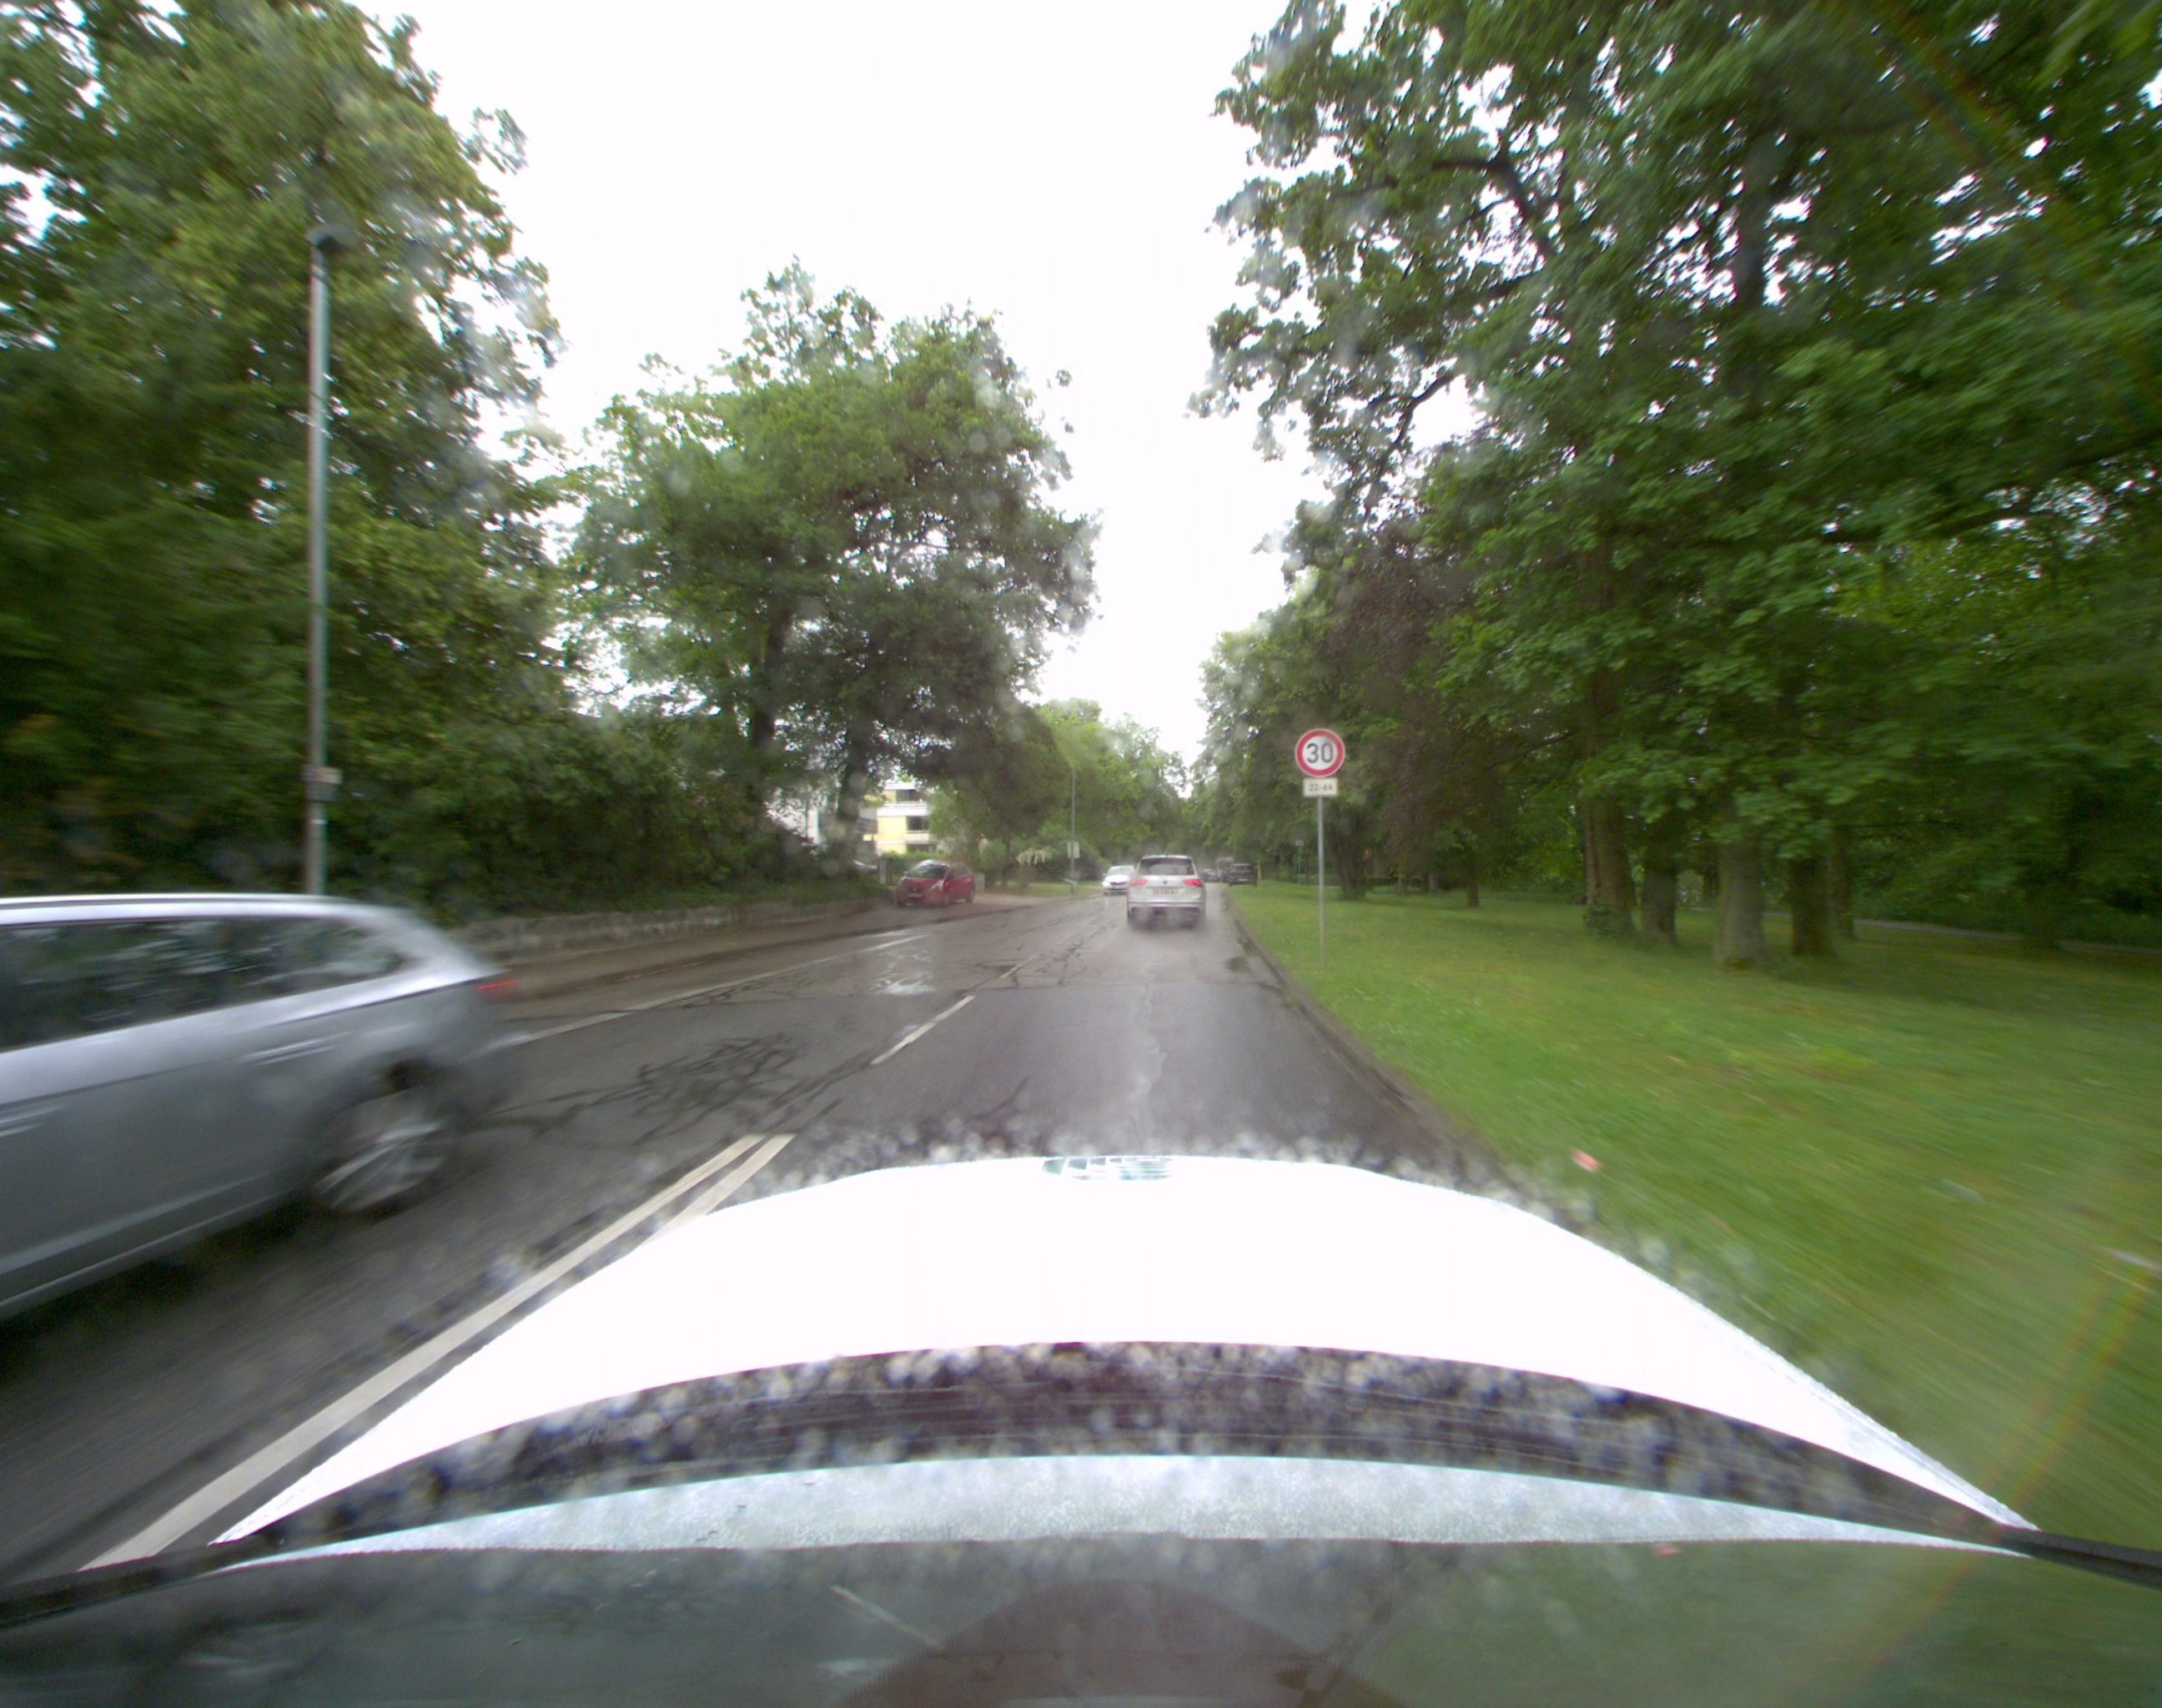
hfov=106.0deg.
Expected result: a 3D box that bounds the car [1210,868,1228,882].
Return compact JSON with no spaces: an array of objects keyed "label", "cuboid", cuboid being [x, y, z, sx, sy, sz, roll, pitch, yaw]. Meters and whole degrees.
[{"label":"car","cuboid":[16.181,2.519,95.670,1.796,1.539,4.274,-2,-2,6]}]

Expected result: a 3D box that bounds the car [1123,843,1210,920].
[{"label":"car","cuboid":[2.155,0.635,20.177,1.895,1.685,4.209,-1,-1,7]}]

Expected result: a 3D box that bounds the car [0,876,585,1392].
[{"label":"car","cuboid":[-3.986,0.867,2.592,1.781,1.423,4.366,-2,-1,6]}]

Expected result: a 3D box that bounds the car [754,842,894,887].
[{"label":"car","cuboid":[-12.710,0.514,40.765,5.717,2.038,3.483,1,0,4]}]

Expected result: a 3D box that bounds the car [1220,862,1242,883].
[{"label":"car","cuboid":[12.593,1.545,68.347,1.770,1.720,4.273,-2,-1,10]}]

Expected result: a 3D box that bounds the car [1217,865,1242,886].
[{"label":"car","cuboid":[11.081,1.591,60.744,1.732,1.452,4.011,2,-1,11]}]

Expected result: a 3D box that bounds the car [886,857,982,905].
[{"label":"car","cuboid":[-4.971,0.871,28.113,1.981,1.516,4.011,0,0,10]}]

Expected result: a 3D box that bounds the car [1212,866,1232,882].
[{"label":"car","cuboid":[13.937,1.944,80.504,1.853,1.511,3.735,-1,-1,10]}]

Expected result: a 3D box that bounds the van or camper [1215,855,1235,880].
[{"label":"van or camper","cuboid":[15.800,1.505,88.957,2.003,2.583,8.459,1,-1,11]}]

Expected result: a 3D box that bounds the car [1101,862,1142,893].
[{"label":"car","cuboid":[2.096,1.157,41.412,1.691,1.410,4.017,-3,-1,8]}]

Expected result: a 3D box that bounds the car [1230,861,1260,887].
[{"label":"car","cuboid":[10.056,1.233,50.153,1.690,1.462,4.228,-2,-2,10]}]
